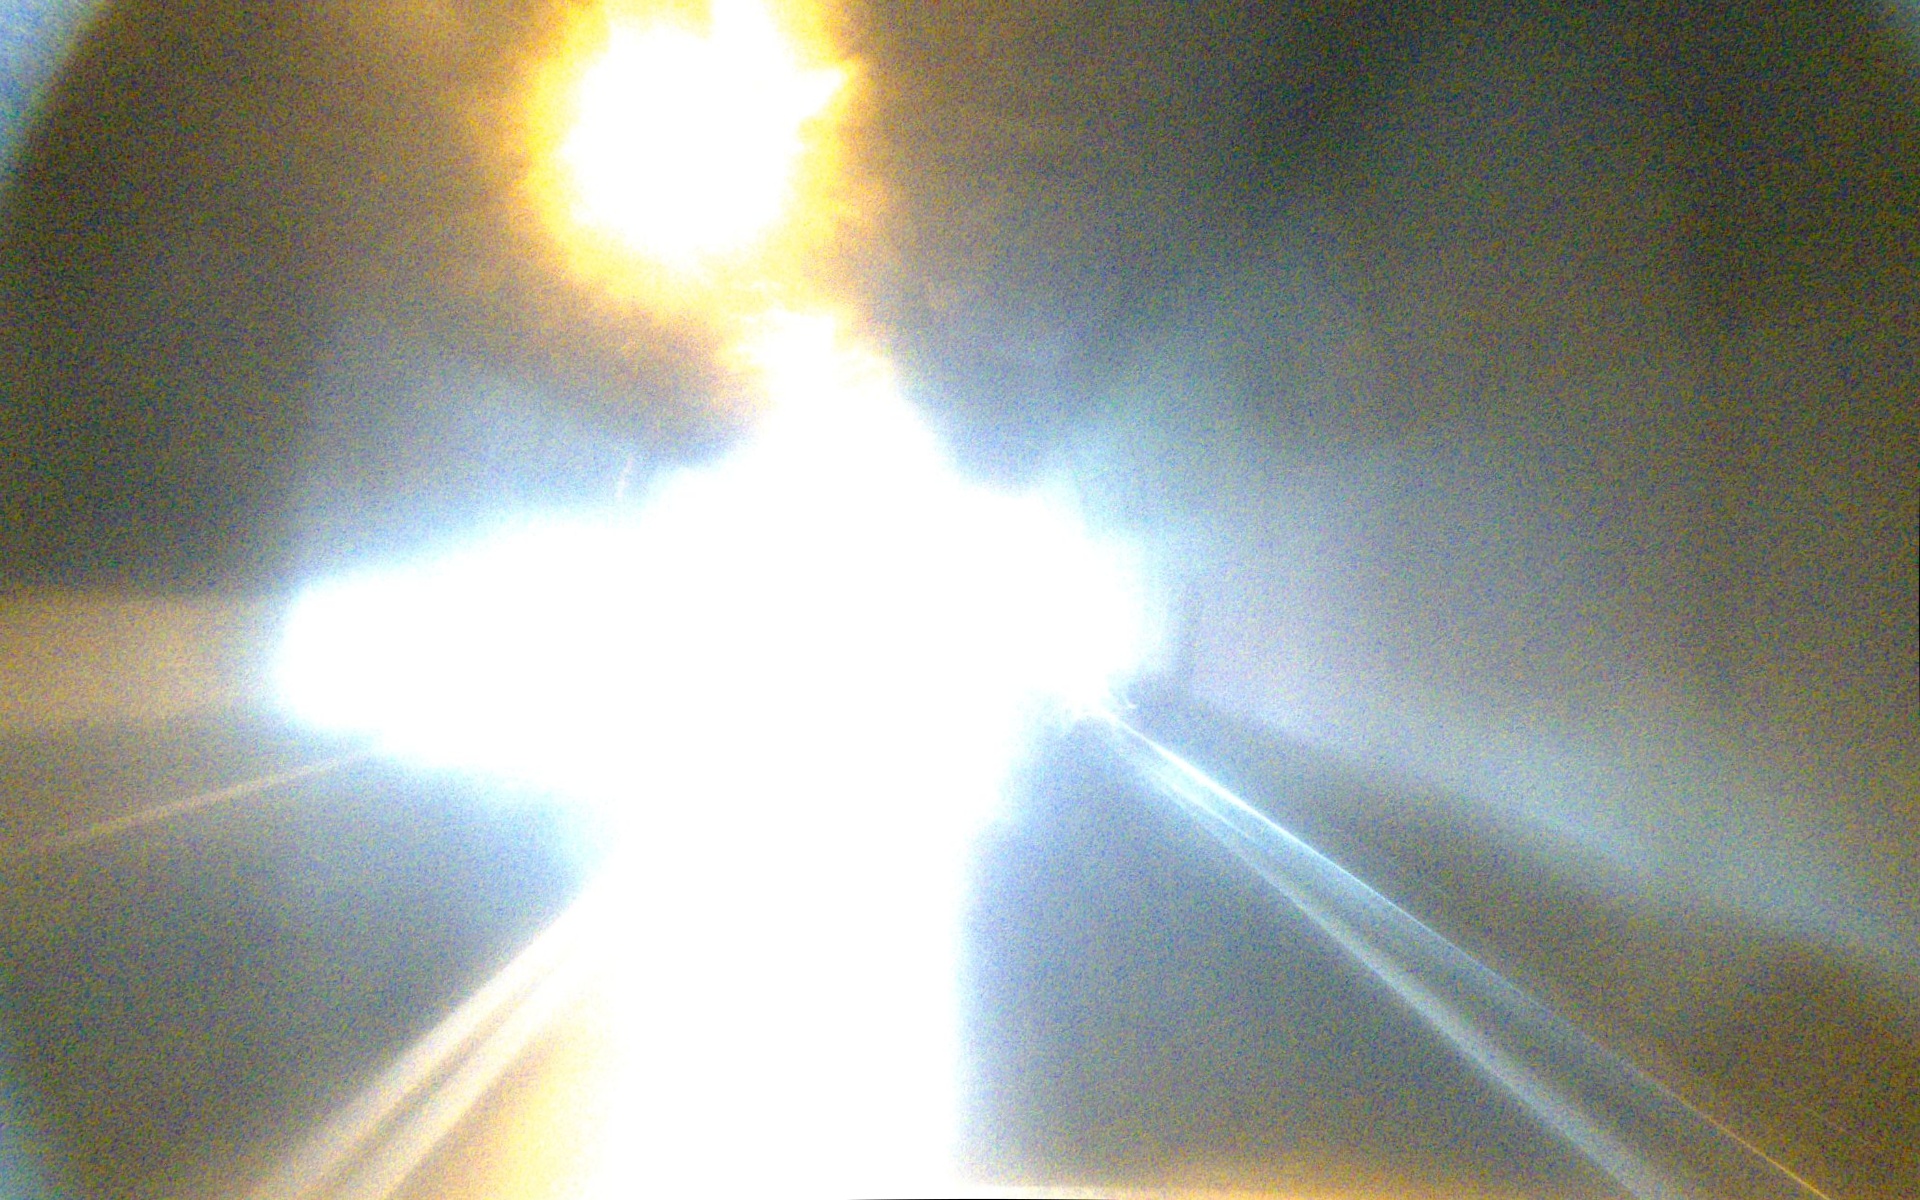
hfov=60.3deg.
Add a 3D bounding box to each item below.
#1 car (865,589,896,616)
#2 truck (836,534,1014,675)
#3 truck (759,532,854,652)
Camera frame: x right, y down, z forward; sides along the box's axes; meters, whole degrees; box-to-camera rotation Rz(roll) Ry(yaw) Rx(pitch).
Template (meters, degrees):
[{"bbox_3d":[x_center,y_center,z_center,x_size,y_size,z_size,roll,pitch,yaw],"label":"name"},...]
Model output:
[{"bbox_3d":[-4.620,0.140,96.425,1.758,1.508,3.867,0,0,-2],"label":"car"},{"bbox_3d":[-0.742,0.066,36.929,3.463,2.740,8.954,0,0,-1],"label":"truck"},{"bbox_3d":[-4.173,-0.215,45.958,2.234,3.069,6.591,1,0,-2],"label":"truck"}]
